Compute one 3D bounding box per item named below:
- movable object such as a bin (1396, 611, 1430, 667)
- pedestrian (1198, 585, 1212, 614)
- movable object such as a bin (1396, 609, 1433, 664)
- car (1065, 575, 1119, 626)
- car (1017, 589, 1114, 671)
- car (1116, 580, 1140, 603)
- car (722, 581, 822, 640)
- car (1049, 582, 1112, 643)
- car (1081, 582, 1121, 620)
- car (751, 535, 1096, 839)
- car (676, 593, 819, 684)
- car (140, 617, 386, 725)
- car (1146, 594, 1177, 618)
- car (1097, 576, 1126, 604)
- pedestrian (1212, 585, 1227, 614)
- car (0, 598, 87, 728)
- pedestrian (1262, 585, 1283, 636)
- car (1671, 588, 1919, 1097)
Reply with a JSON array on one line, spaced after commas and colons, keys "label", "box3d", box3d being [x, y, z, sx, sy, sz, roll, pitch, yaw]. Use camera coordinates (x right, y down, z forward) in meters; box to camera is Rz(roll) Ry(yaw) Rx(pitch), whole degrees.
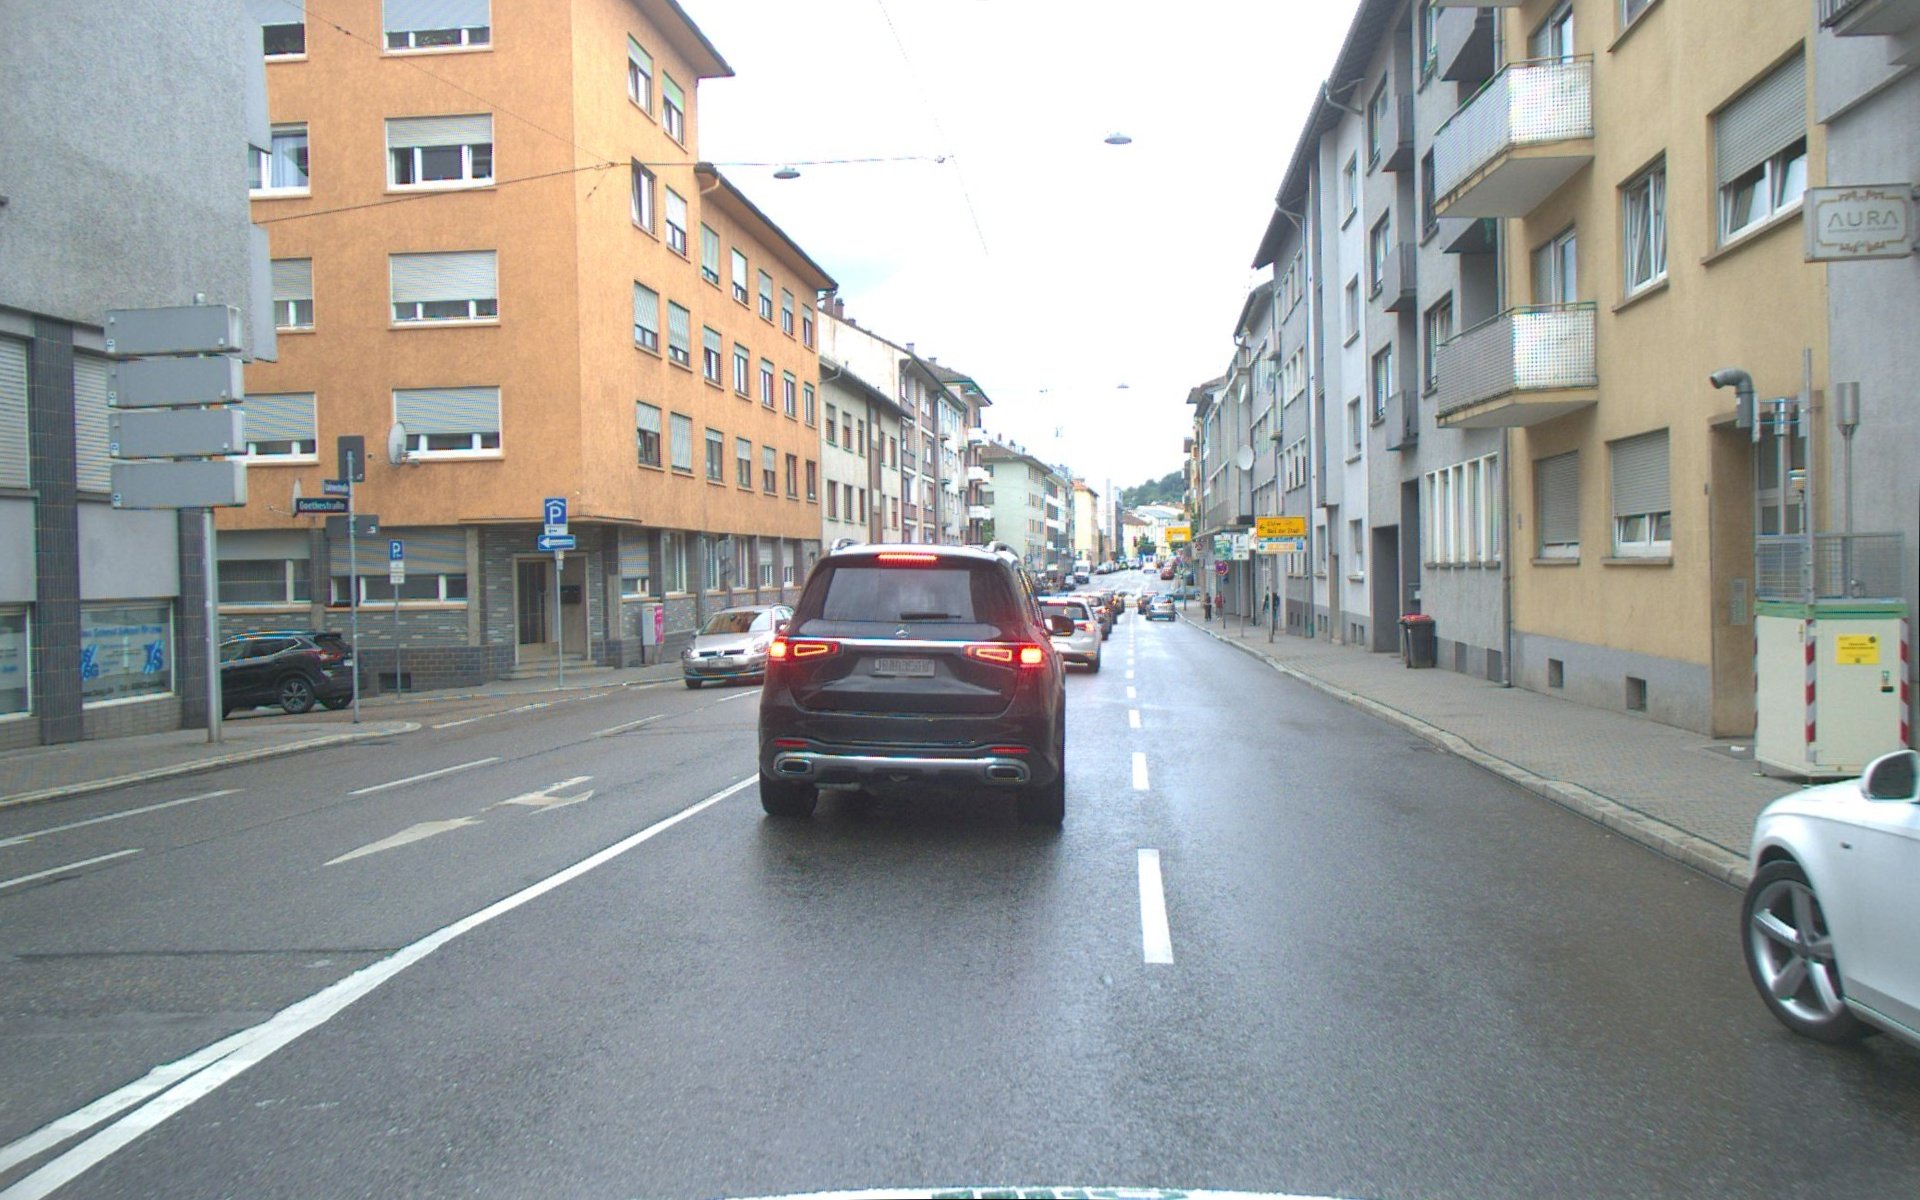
[{"label": "movable object such as a bin", "box3d": [8.443, 0.723, 30.859, 0.463, 0.979, 0.565, -4, 0, 7]}, {"label": "pedestrian", "box3d": [13.541, -0.019, 91.420, 0.803, 1.592, 0.900, 0, 1, 9]}, {"label": "movable object such as a bin", "box3d": [8.620, 0.695, 31.390, 0.550, 0.979, 0.475, -4, 0, 8]}, {"label": "car", "box3d": [5.491, 0.002, 68.393, 1.951, 2.049, 4.004, 0, 1, 8]}, {"label": "car", "box3d": [2.187, 0.568, 34.366, 1.853, 1.537, 4.176, 1, 1, 3]}, {"label": "car", "box3d": [15.117, -0.801, 148.905, 1.951, 2.049, 4.004, 0, 1, 8]}, {"label": "car", "box3d": [-4.954, 0.238, 44.183, 1.851, 1.484, 4.552, 0, 1, 4]}, {"label": "car", "box3d": [4.270, 0.405, 58.336, 1.951, 2.049, 4.004, 0, 1, 8]}, {"label": "car", "box3d": [7.709, 0.034, 90.199, 1.951, 2.049, 4.004, 0, 1, 8]}, {"label": "car", "box3d": [-0.154, 0.472, 12.074, 2.033, 1.796, 4.612, 0, 1, 1]}, {"label": "car", "box3d": [-4.024, 0.697, 32.053, 1.788, 1.441, 4.298, -5, 1, 5]}, {"label": "car", "box3d": [-13.725, 1.385, 32.707, 3.904, 1.680, 1.932, -5, 0, 6]}, {"label": "car", "box3d": [12.343, 0.363, 101.271, 1.698, 1.412, 4.585, 0, 1, 5]}, {"label": "car", "box3d": [11.213, -0.749, 122.585, 1.951, 2.049, 4.004, 0, 1, 8]}, {"label": "pedestrian", "box3d": [14.312, -0.048, 91.316, 0.803, 1.592, 0.900, 0, 1, 9]}, {"label": "car", "box3d": [-20.903, 1.459, 33.462, 5.233, 2.501, 1.983, -5, 0, 0]}, {"label": "pedestrian", "box3d": [11.221, 0.369, 59.442, 0.641, 1.782, 0.742, -3, 0, 11]}, {"label": "car", "box3d": [3.707, 0.697, 4.285, 1.854, 1.426, 4.611, -6, 0, 4]}]
